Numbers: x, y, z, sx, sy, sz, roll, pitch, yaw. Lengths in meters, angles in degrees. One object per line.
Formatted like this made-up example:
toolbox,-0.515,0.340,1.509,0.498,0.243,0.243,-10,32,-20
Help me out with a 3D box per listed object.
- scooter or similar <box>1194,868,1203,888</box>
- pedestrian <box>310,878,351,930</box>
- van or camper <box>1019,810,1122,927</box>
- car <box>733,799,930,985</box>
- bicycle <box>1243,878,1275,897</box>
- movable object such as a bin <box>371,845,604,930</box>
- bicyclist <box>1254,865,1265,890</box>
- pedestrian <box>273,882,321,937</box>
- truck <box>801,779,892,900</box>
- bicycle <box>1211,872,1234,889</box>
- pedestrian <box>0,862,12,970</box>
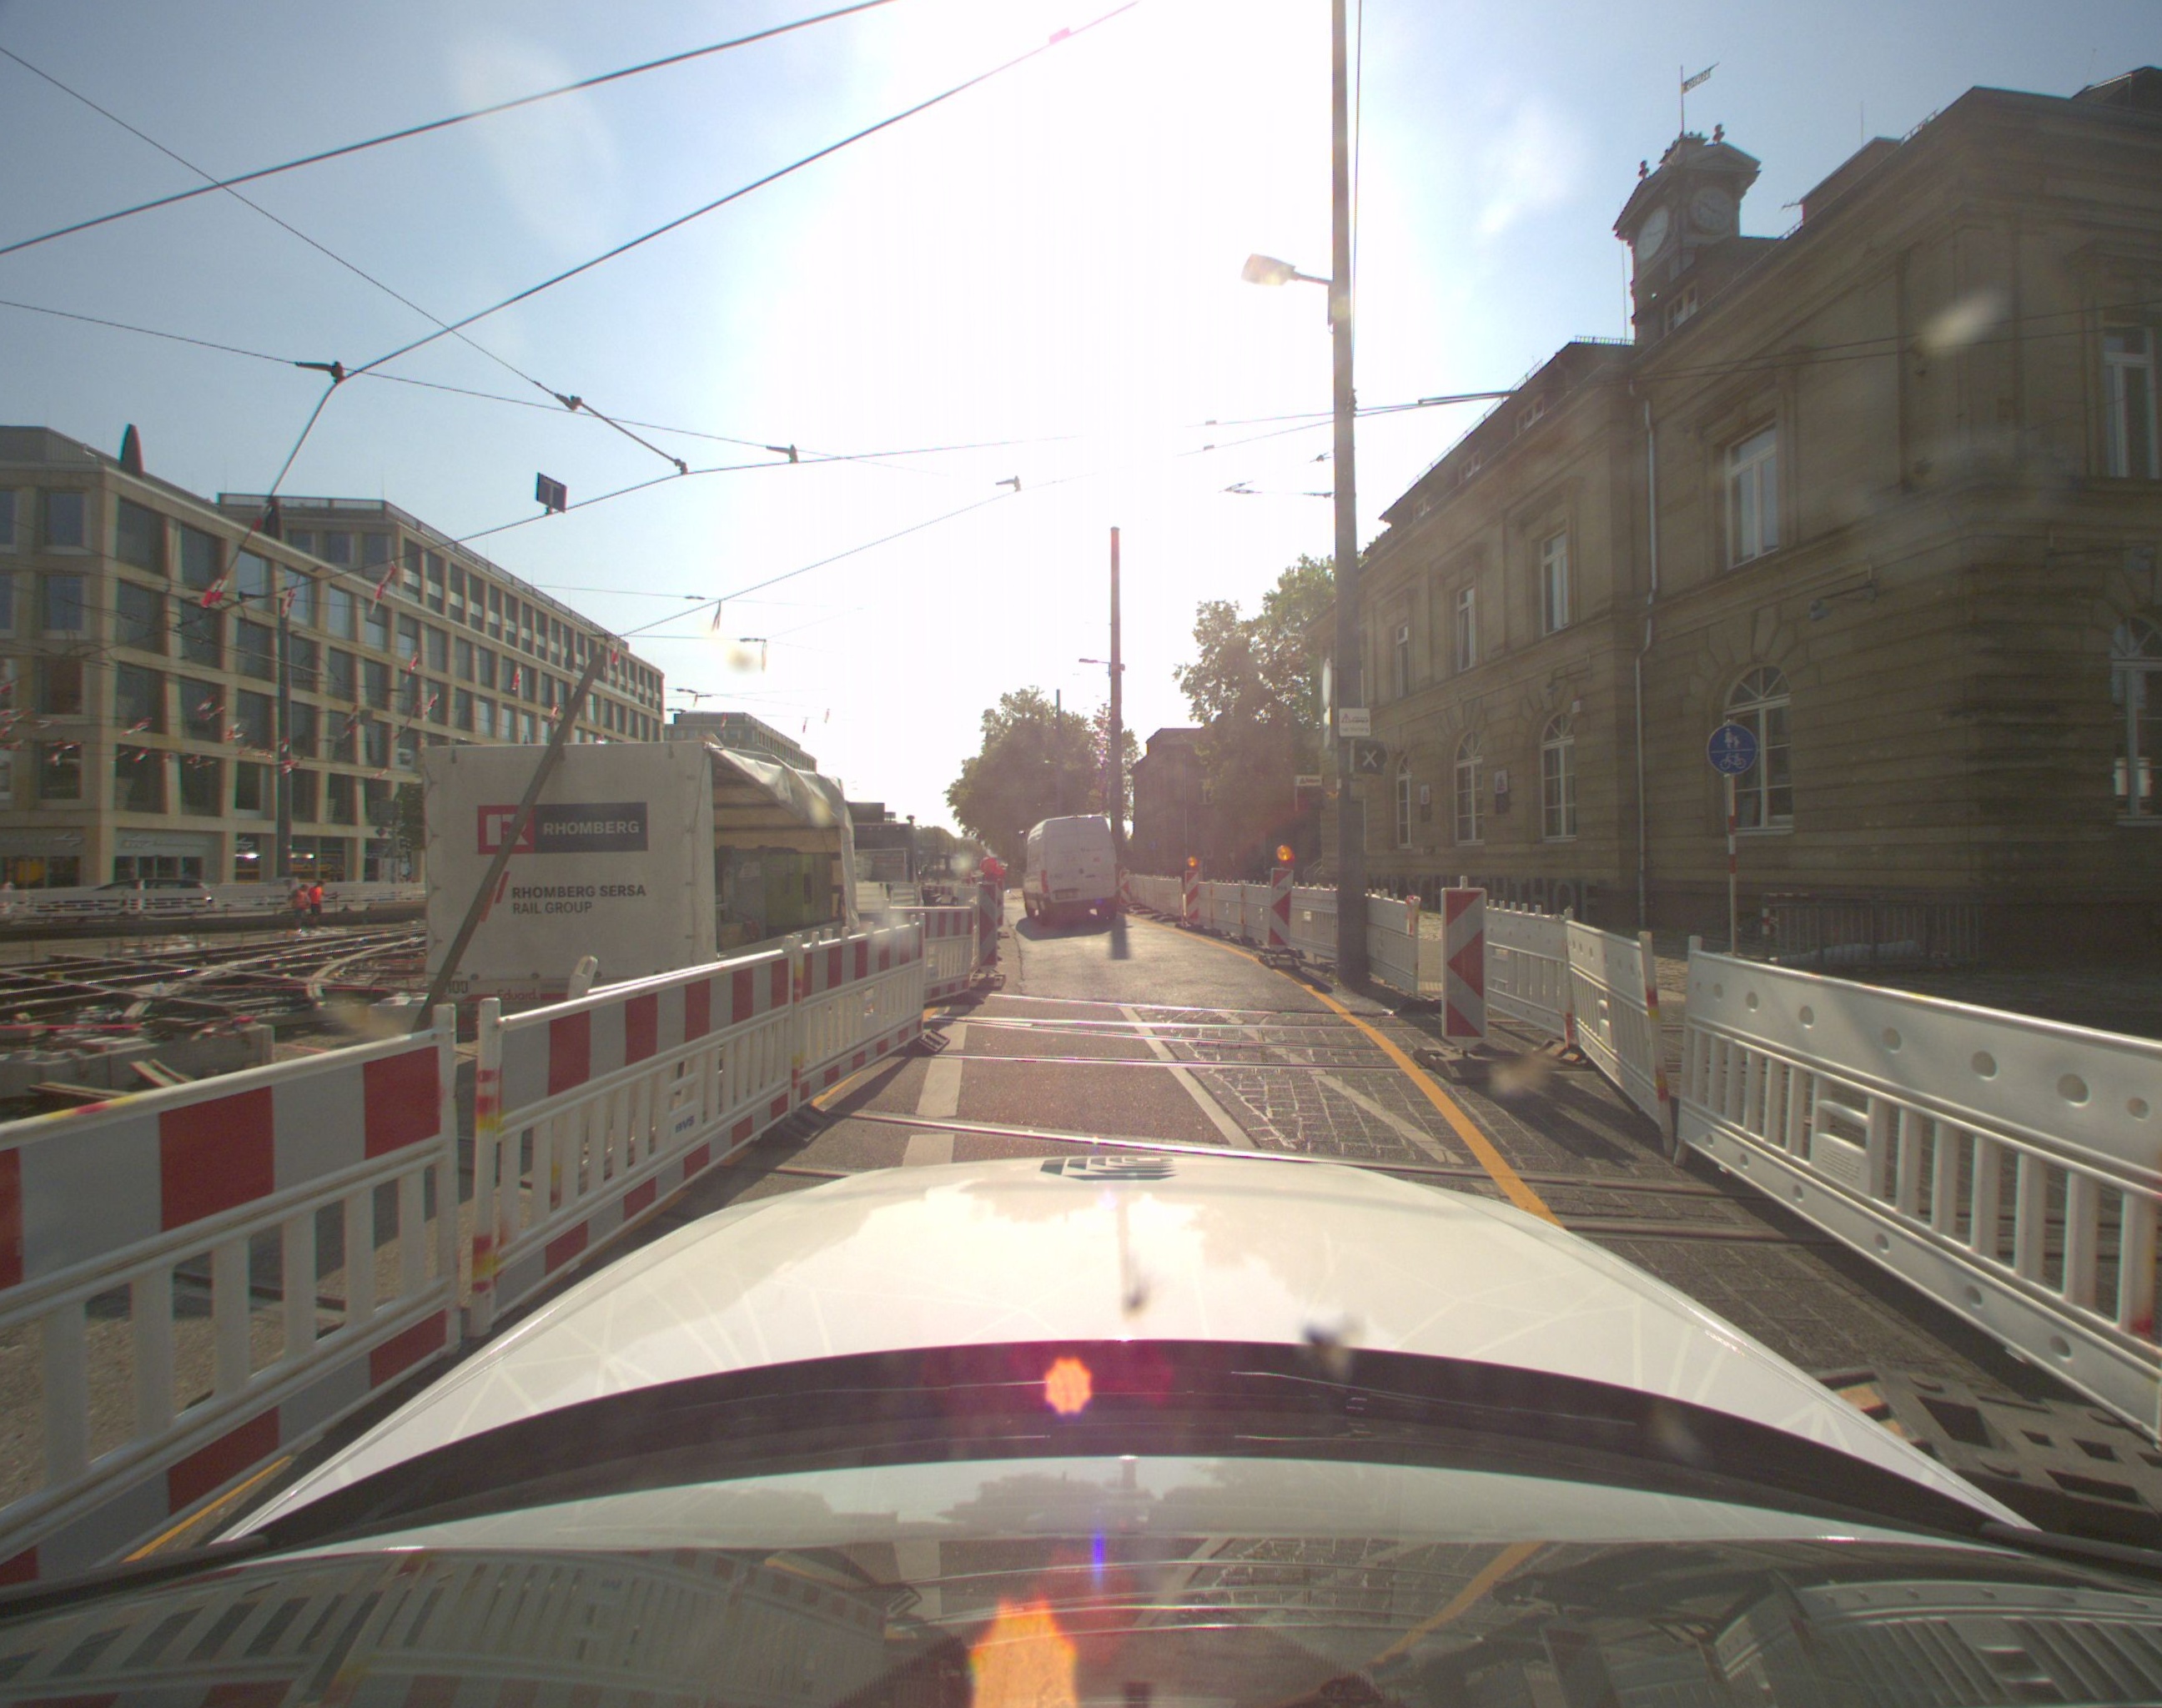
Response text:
scooter or similar,7.566,1.527,52.368,0.424,1.228,1.173,-1,-1,1
pedestrian,-27.605,1.819,29.965,0.747,1.865,0.813,-1,-1,16
van or camper,-0.434,0.363,22.058,2.114,2.682,5.237,-3,0,-7
car,-3.975,0.561,14.439,2.206,2.424,7.178,-1,-1,-8
bicycle,10.817,2.038,49.447,1.845,1.089,0.493,-1,-1,0
movable object such as a bin,-23.125,1.306,32.602,3.608,2.958,8.459,1,-2,-5
bicyclist,10.842,1.421,49.452,0.592,1.539,0.470,-1,-1,0
pedestrian,-27.429,1.925,28.506,0.925,1.865,0.805,0,-1,-16
truck,-8.956,-0.432,30.806,2.799,3.913,8.368,1,-1,-18
bicycle,8.989,1.658,51.681,0.493,0.999,1.803,-1,1,-24
pedestrian,-19.596,1.110,14.265,0.783,1.912,0.723,-1,-1,3
